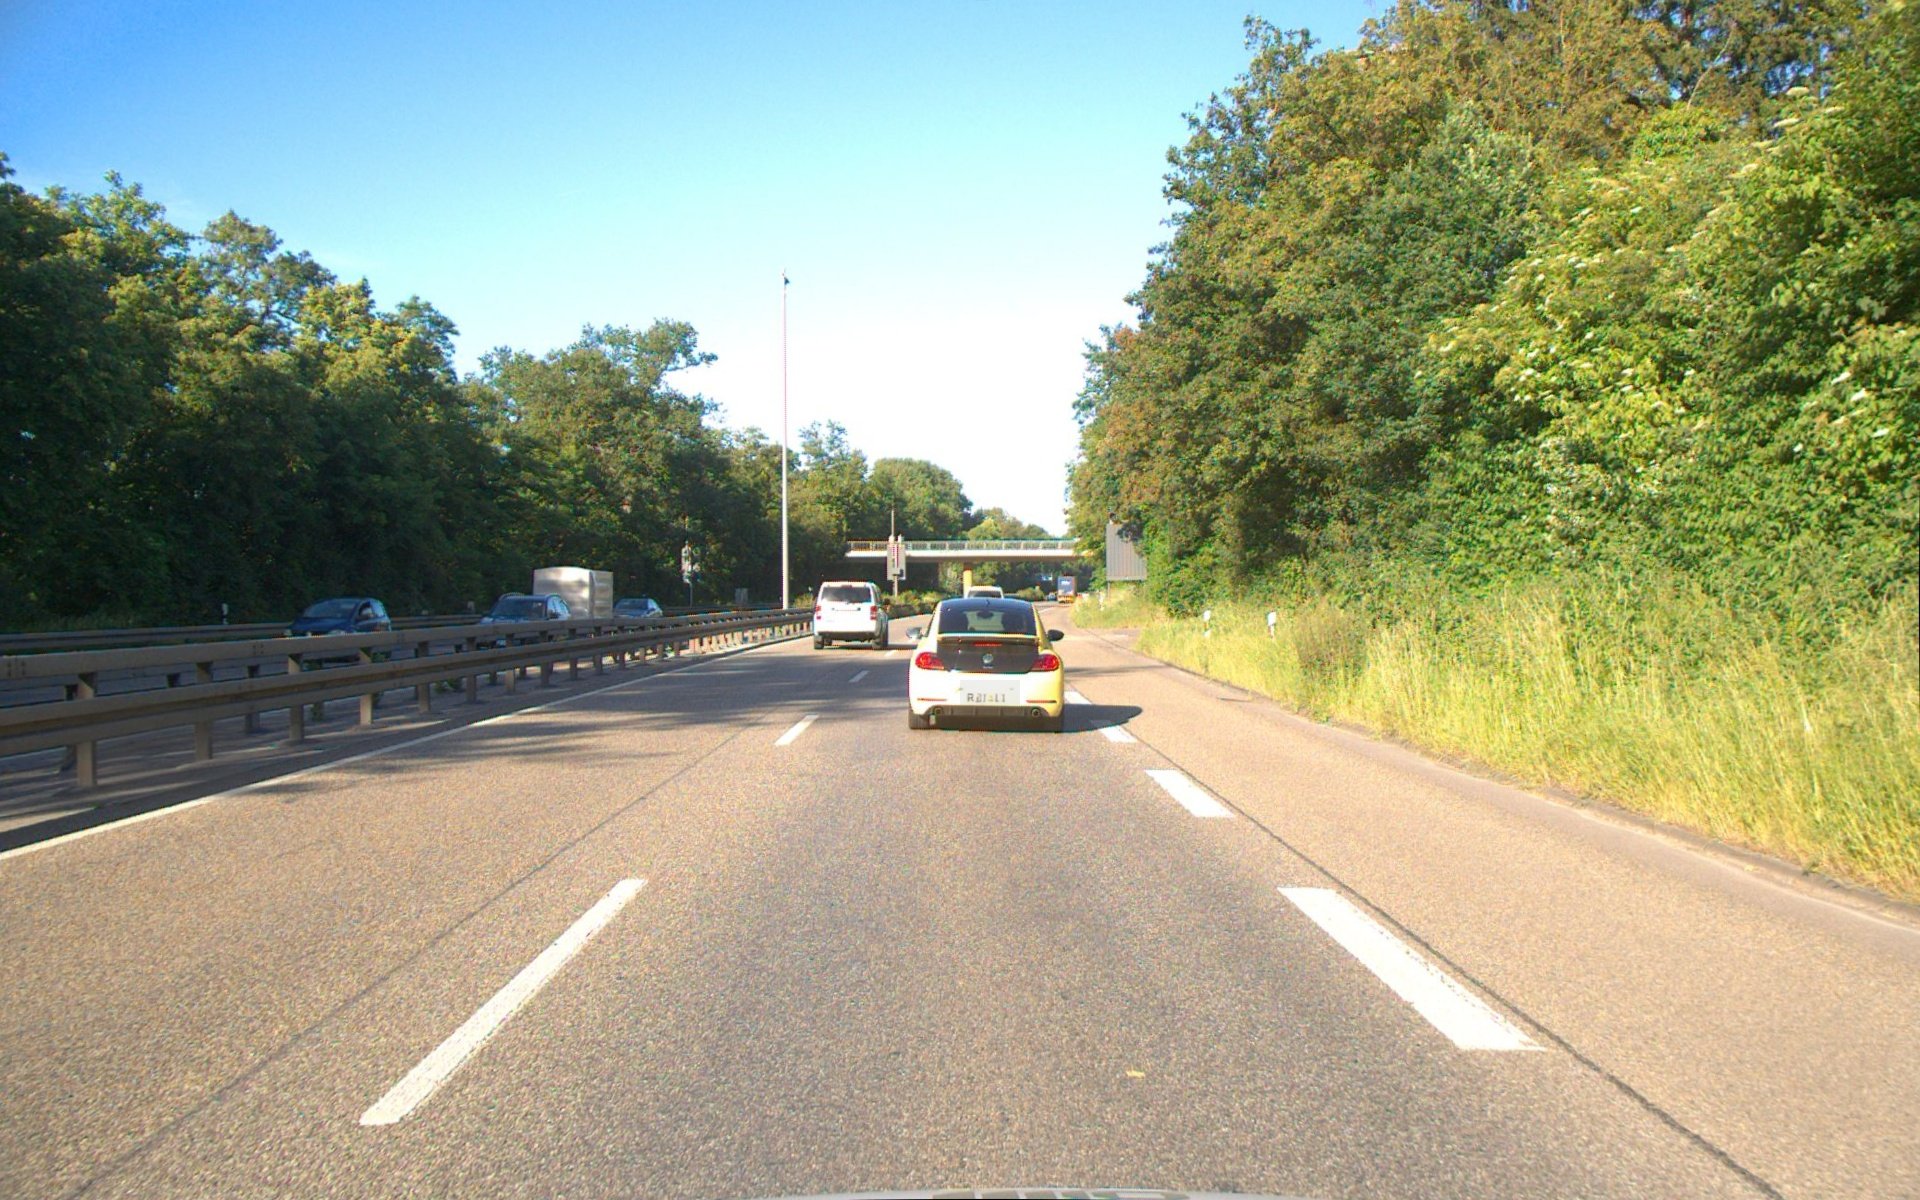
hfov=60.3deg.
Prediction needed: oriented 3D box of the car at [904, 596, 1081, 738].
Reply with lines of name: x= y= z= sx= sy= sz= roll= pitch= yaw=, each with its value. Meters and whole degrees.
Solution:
car: x=0.278 y=0.719 z=19.933 sx=1.842 sy=1.487 sz=4.354 roll=1 pitch=0 yaw=-2

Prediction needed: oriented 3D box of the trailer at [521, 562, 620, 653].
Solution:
trailer: x=-11.152 y=0.190 z=47.670 sx=1.954 sy=2.480 sz=4.604 roll=0 pitch=0 yaw=-3

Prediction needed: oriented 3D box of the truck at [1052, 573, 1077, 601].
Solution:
truck: x=16.262 y=-2.033 z=256.596 sx=3.422 sy=4.246 sz=8.867 roll=0 pitch=0 yaw=6

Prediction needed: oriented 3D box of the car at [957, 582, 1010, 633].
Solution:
car: x=0.825 y=0.260 z=60.760 sx=1.825 sy=1.801 sz=4.469 roll=0 pitch=0 yaw=-1

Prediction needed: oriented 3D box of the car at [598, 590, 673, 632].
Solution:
car: x=-14.345 y=0.472 z=73.457 sx=2.076 sy=1.755 sz=5.876 roll=1 pitch=0 yaw=1

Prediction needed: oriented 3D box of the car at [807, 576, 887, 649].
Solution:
car: x=-3.026 y=0.315 z=44.852 sx=2.043 sy=1.860 sz=3.998 roll=-1 pitch=0 yaw=-3

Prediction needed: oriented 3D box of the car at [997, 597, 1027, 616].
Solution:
car: x=4.022 y=0.465 z=127.349 sx=1.951 sy=1.422 sz=4.003 roll=0 pitch=0 yaw=6

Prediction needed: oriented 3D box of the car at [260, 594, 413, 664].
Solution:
car: x=-15.598 y=0.679 z=41.719 sx=2.029 sy=1.642 sz=5.057 roll=1 pitch=0 yaw=-1

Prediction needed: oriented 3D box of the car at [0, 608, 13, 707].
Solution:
car: x=-15.451 y=0.863 z=22.769 sx=2.029 sy=1.493 sz=4.984 roll=1 pitch=0 yaw=-1

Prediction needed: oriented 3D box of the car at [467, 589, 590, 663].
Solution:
car: x=-11.058 y=0.615 z=42.771 sx=2.030 sy=1.779 sz=5.222 roll=0 pitch=0 yaw=-3
